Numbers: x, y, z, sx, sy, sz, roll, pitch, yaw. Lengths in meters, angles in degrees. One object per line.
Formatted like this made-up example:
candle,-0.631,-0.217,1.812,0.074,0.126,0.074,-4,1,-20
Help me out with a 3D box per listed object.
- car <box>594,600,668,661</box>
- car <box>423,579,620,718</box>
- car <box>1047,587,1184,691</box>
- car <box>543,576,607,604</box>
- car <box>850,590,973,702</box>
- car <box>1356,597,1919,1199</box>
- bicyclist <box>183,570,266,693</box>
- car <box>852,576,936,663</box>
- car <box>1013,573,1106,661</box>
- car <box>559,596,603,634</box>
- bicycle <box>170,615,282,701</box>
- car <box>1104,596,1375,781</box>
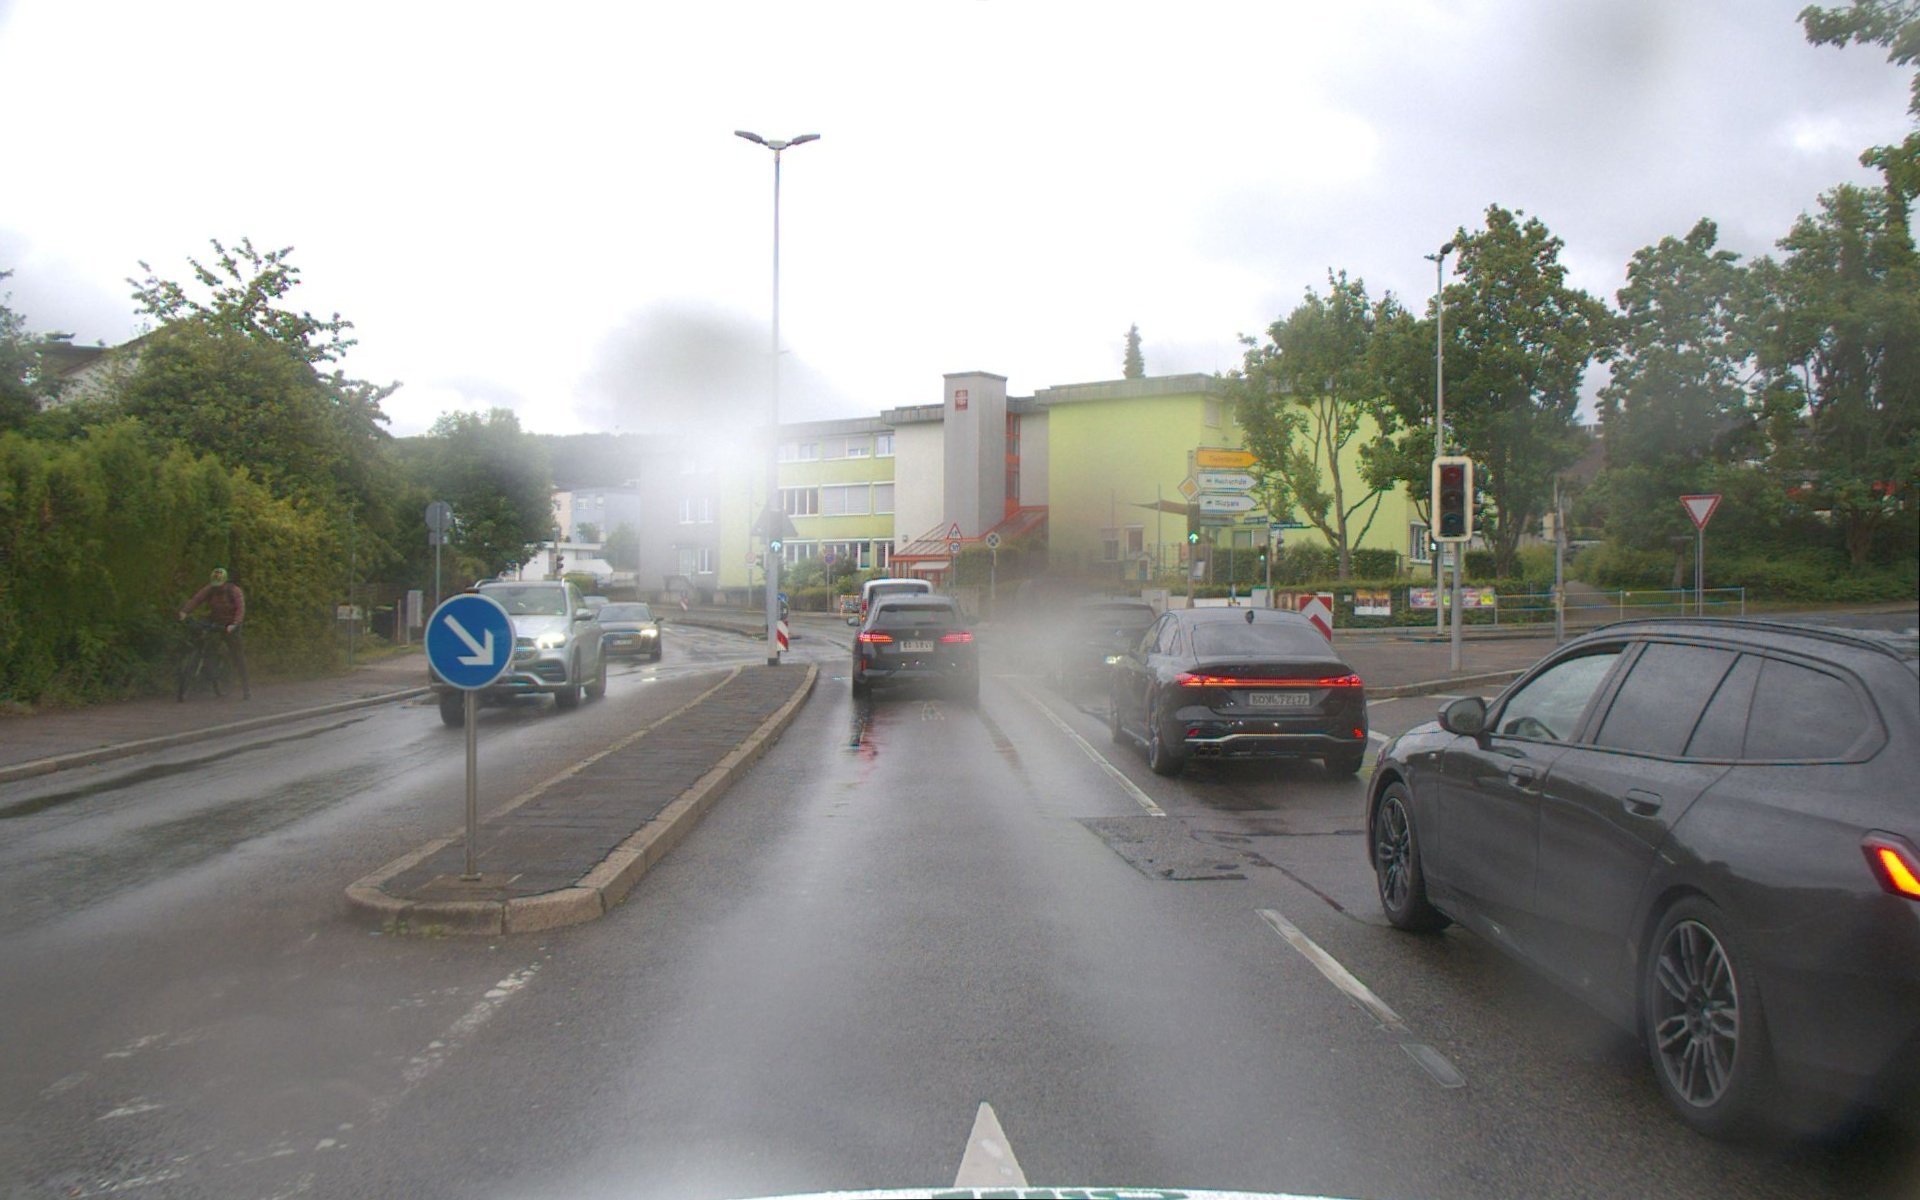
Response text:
car,-8.605,0.762,43.570,1.705,1.462,4.547,-2,0,-9
car,-6.203,0.603,23.910,2.002,1.746,4.476,-1,1,-6
car,2.467,0.576,27.173,1.812,1.512,4.086,-1,1,-1
car,-28.014,-0.711,120.334,4.329,1.802,1.989,-3,0,-19
car,-0.805,0.637,25.123,1.650,1.532,3.770,-1,1,-5
car,3.041,0.758,6.102,1.867,1.484,4.776,0,1,-2
bicyclist,-10.076,0.420,22.679,0.749,1.640,0.867,1,0,-3
car,-1.579,0.396,38.463,1.684,1.876,4.082,-2,1,-6
car,2.112,0.322,36.091,1.746,1.764,4.086,-1,1,0
car,-16.505,0.647,72.157,1.762,1.515,4.140,-2,0,-13
bicycle,-10.107,0.780,22.853,0.732,1.105,1.988,1,0,-3
car,2.479,0.714,15.752,1.672,1.452,4.507,0,1,-2
